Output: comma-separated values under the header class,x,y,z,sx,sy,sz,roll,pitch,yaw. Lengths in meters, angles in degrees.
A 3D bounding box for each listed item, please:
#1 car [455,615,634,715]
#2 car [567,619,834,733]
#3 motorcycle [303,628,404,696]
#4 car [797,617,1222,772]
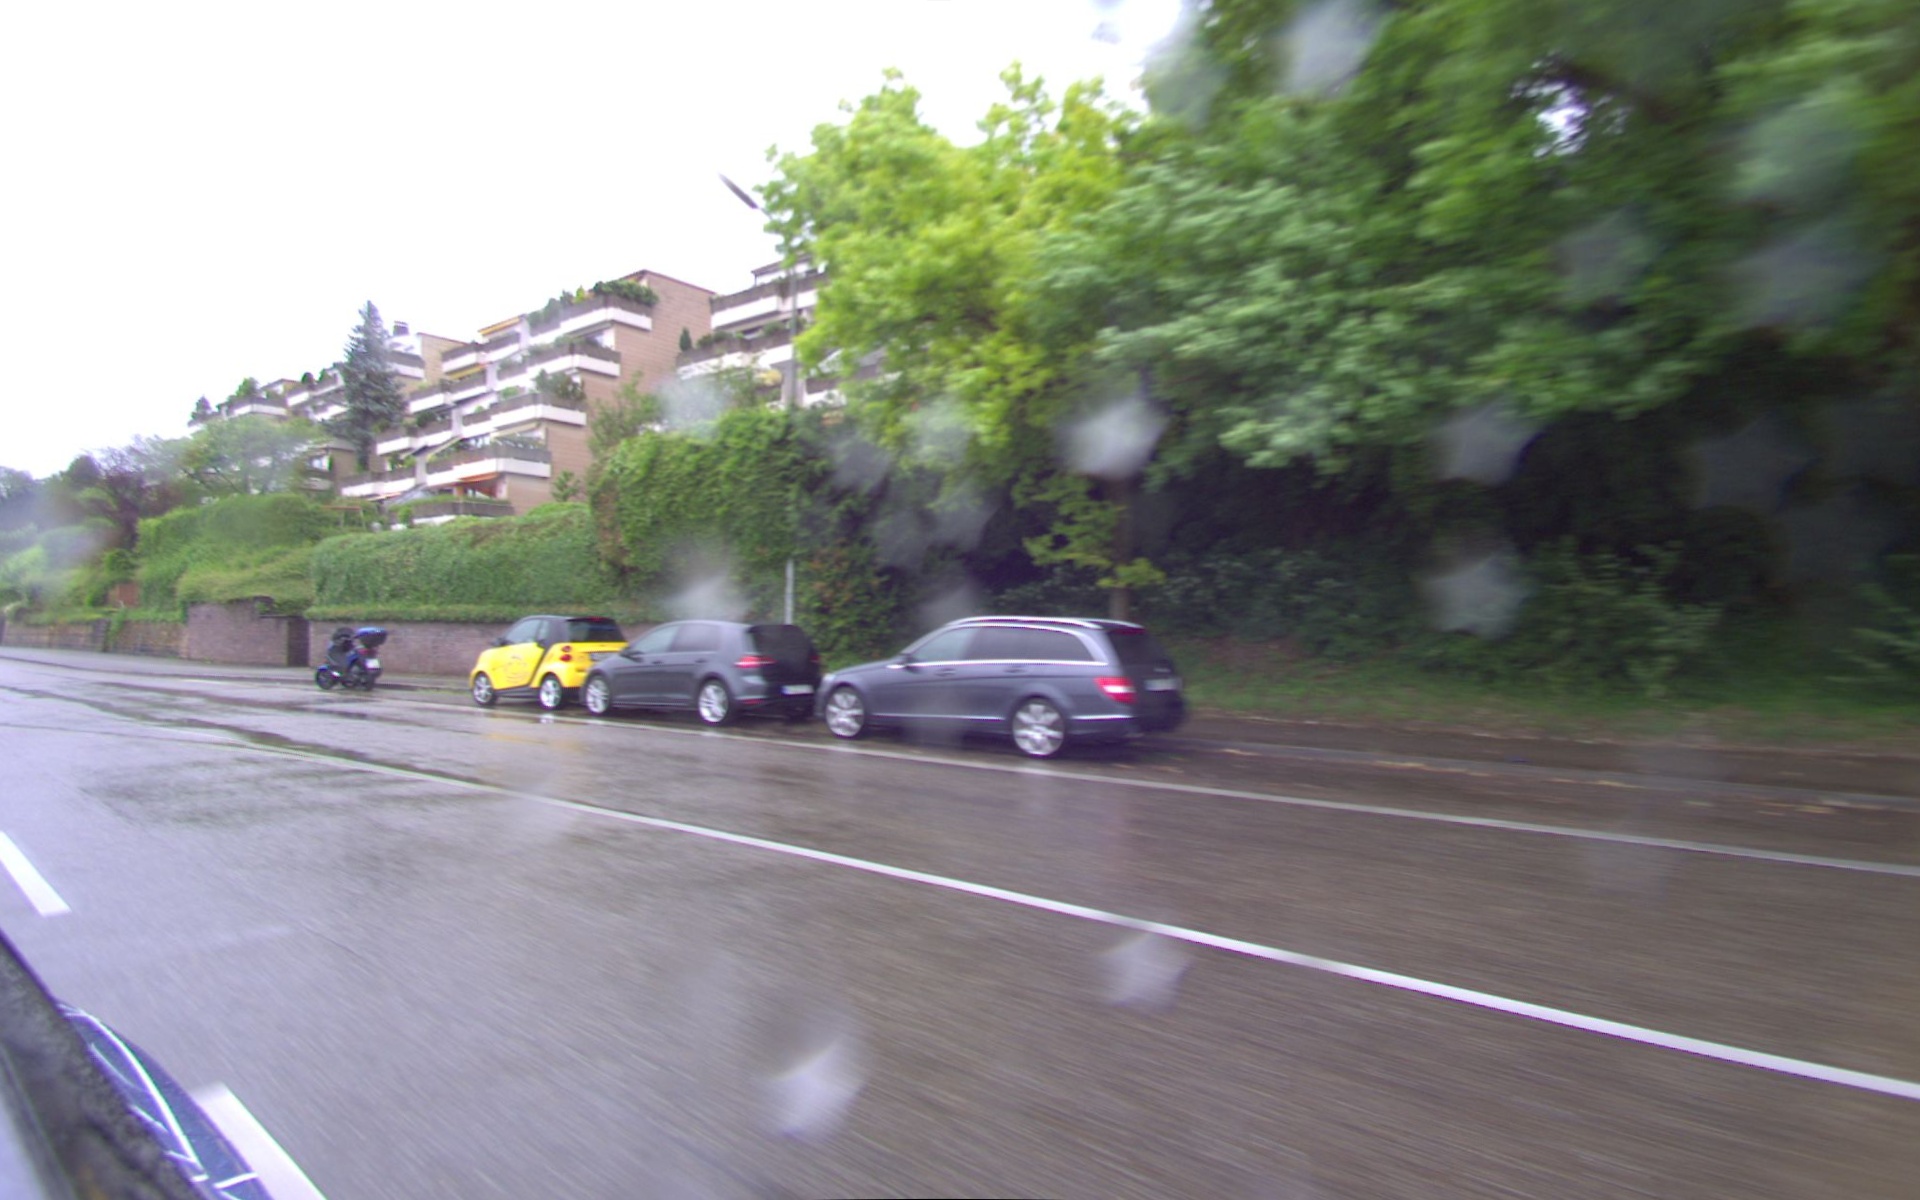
class,x,y,z,sx,sy,sz,roll,pitch,yaw
car,-7.025,1.049,17.080,2.810,1.549,1.422,-1,-2,32
car,-3.802,1.003,14.539,4.094,1.430,1.421,-1,-2,35
motorcycle,-12.690,1.260,21.145,2.492,1.351,0.830,-1,-2,34
car,0.397,0.923,11.494,4.734,1.430,1.671,-1,-2,38
